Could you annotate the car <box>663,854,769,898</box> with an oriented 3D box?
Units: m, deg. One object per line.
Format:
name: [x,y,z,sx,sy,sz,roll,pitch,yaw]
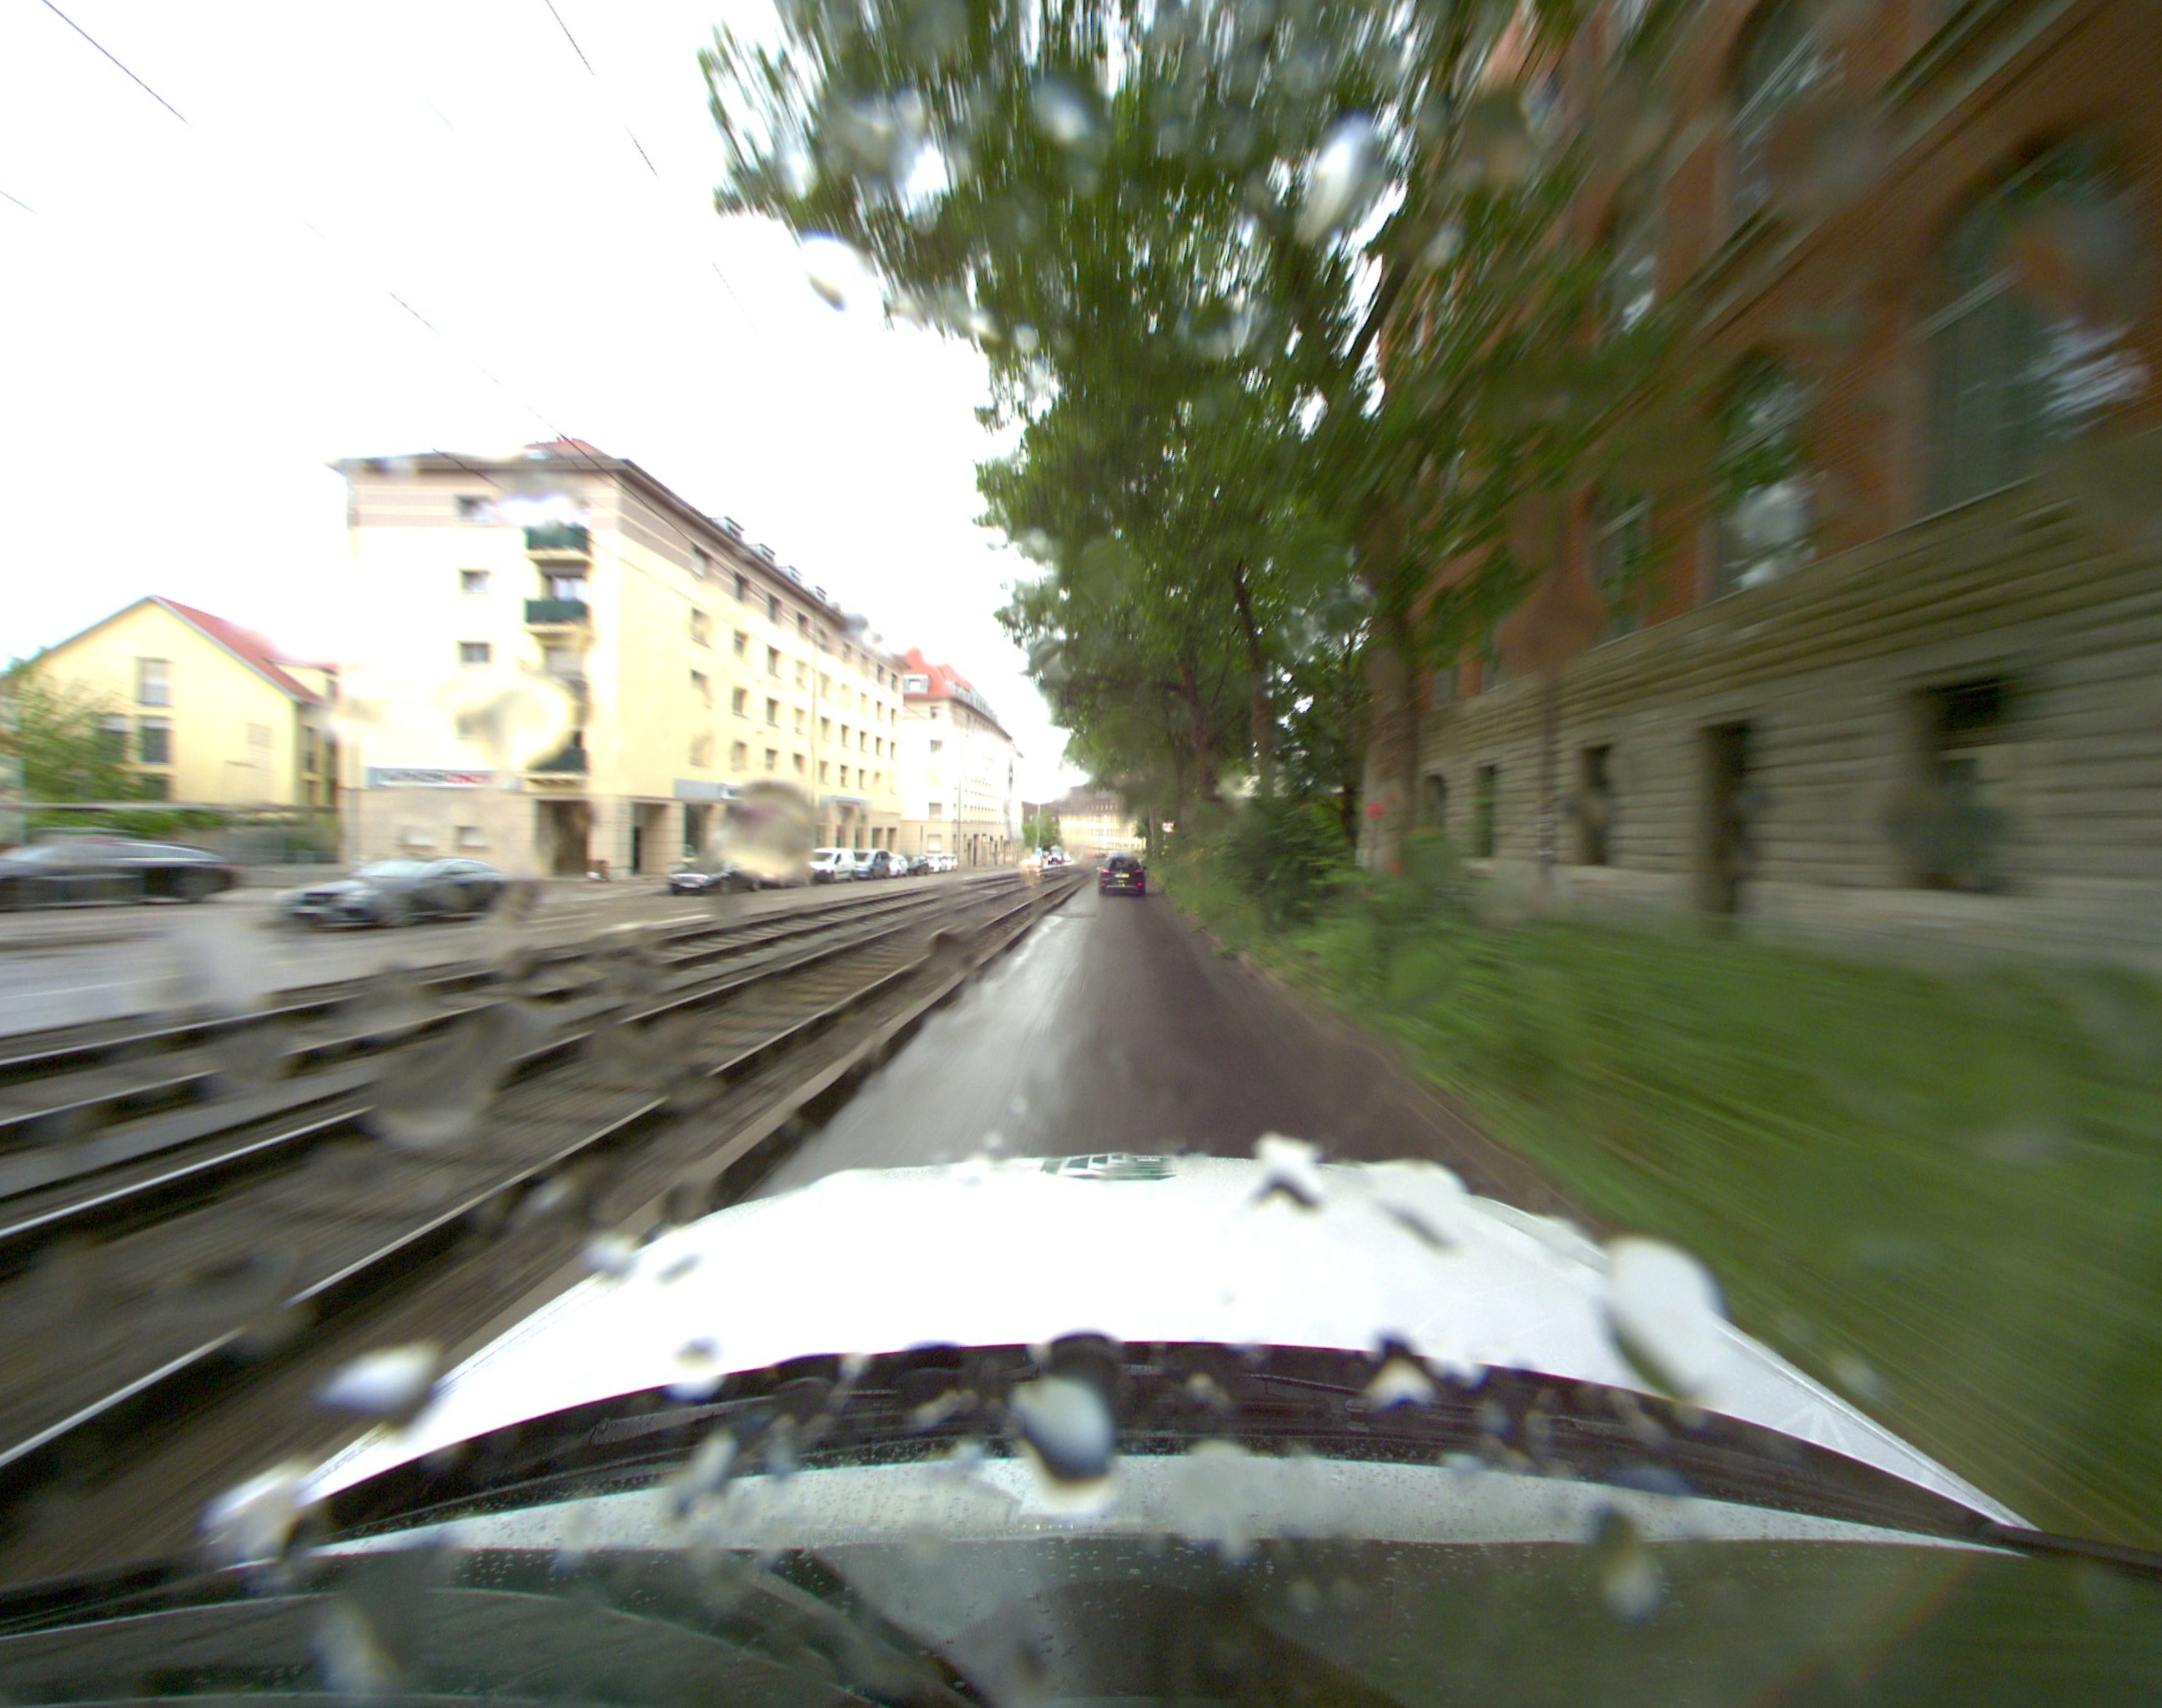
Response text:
car: [-13.552,0.797,30.588,1.846,1.508,4.987,0,-1,-2]

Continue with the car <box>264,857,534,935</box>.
car: [-14.014,0.807,17.193,1.673,1.396,4.624,0,-1,2]

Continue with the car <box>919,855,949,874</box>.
car: [-11.786,0.798,65.575,1.699,1.396,3.933,2,0,-2]

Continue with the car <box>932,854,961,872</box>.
car: [-11.581,0.797,70.305,1.702,1.450,3.542,3,-1,1]

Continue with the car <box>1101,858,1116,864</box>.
car: [7.108,1.765,210.627,2.006,1.542,3.960,1,-1,-31]

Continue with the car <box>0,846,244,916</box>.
car: [-20.837,0.511,16.921,1.859,1.303,4.490,1,0,10]

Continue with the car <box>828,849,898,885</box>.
car: [-12.697,0.756,47.772,1.983,1.905,5.469,2,-1,7]

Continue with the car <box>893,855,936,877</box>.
car: [-11.915,0.866,58.573,1.806,1.499,4.586,2,-1,3]

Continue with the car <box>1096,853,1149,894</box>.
car: [1.574,0.763,32.157,1.926,1.453,4.318,1,-1,1]

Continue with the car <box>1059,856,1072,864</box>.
car: [-2.692,1.059,143.850,1.872,1.486,4.859,1,0,4]

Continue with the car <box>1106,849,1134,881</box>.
car: [2.577,0.752,54.598,1.734,2.014,3.904,1,-1,1]

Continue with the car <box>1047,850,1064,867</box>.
car: [-3.881,0.787,124.984,1.985,2.452,6.003,0,-2,4]

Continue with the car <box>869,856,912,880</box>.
car: [-12.380,0.915,53.054,1.685,1.439,4.051,-1,-1,2]

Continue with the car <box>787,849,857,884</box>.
car: [-13.146,0.639,41.684,1.858,1.717,4.465,0,-1,4]

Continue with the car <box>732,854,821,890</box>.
car: [-13.379,0.807,36.164,1.843,1.432,4.835,2,-1,3]

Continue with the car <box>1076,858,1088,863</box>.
car: [0.197,1.827,225.010,2.002,1.542,3.968,-1,-1,-24]

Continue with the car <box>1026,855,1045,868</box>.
car: [-5.459,0.928,98.676,1.704,1.462,4.286,0,-1,5]

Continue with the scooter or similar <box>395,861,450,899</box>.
scooter or similar: [-19.997,0.800,24.748,1.288,1.112,0.379,2,-1,-4]
